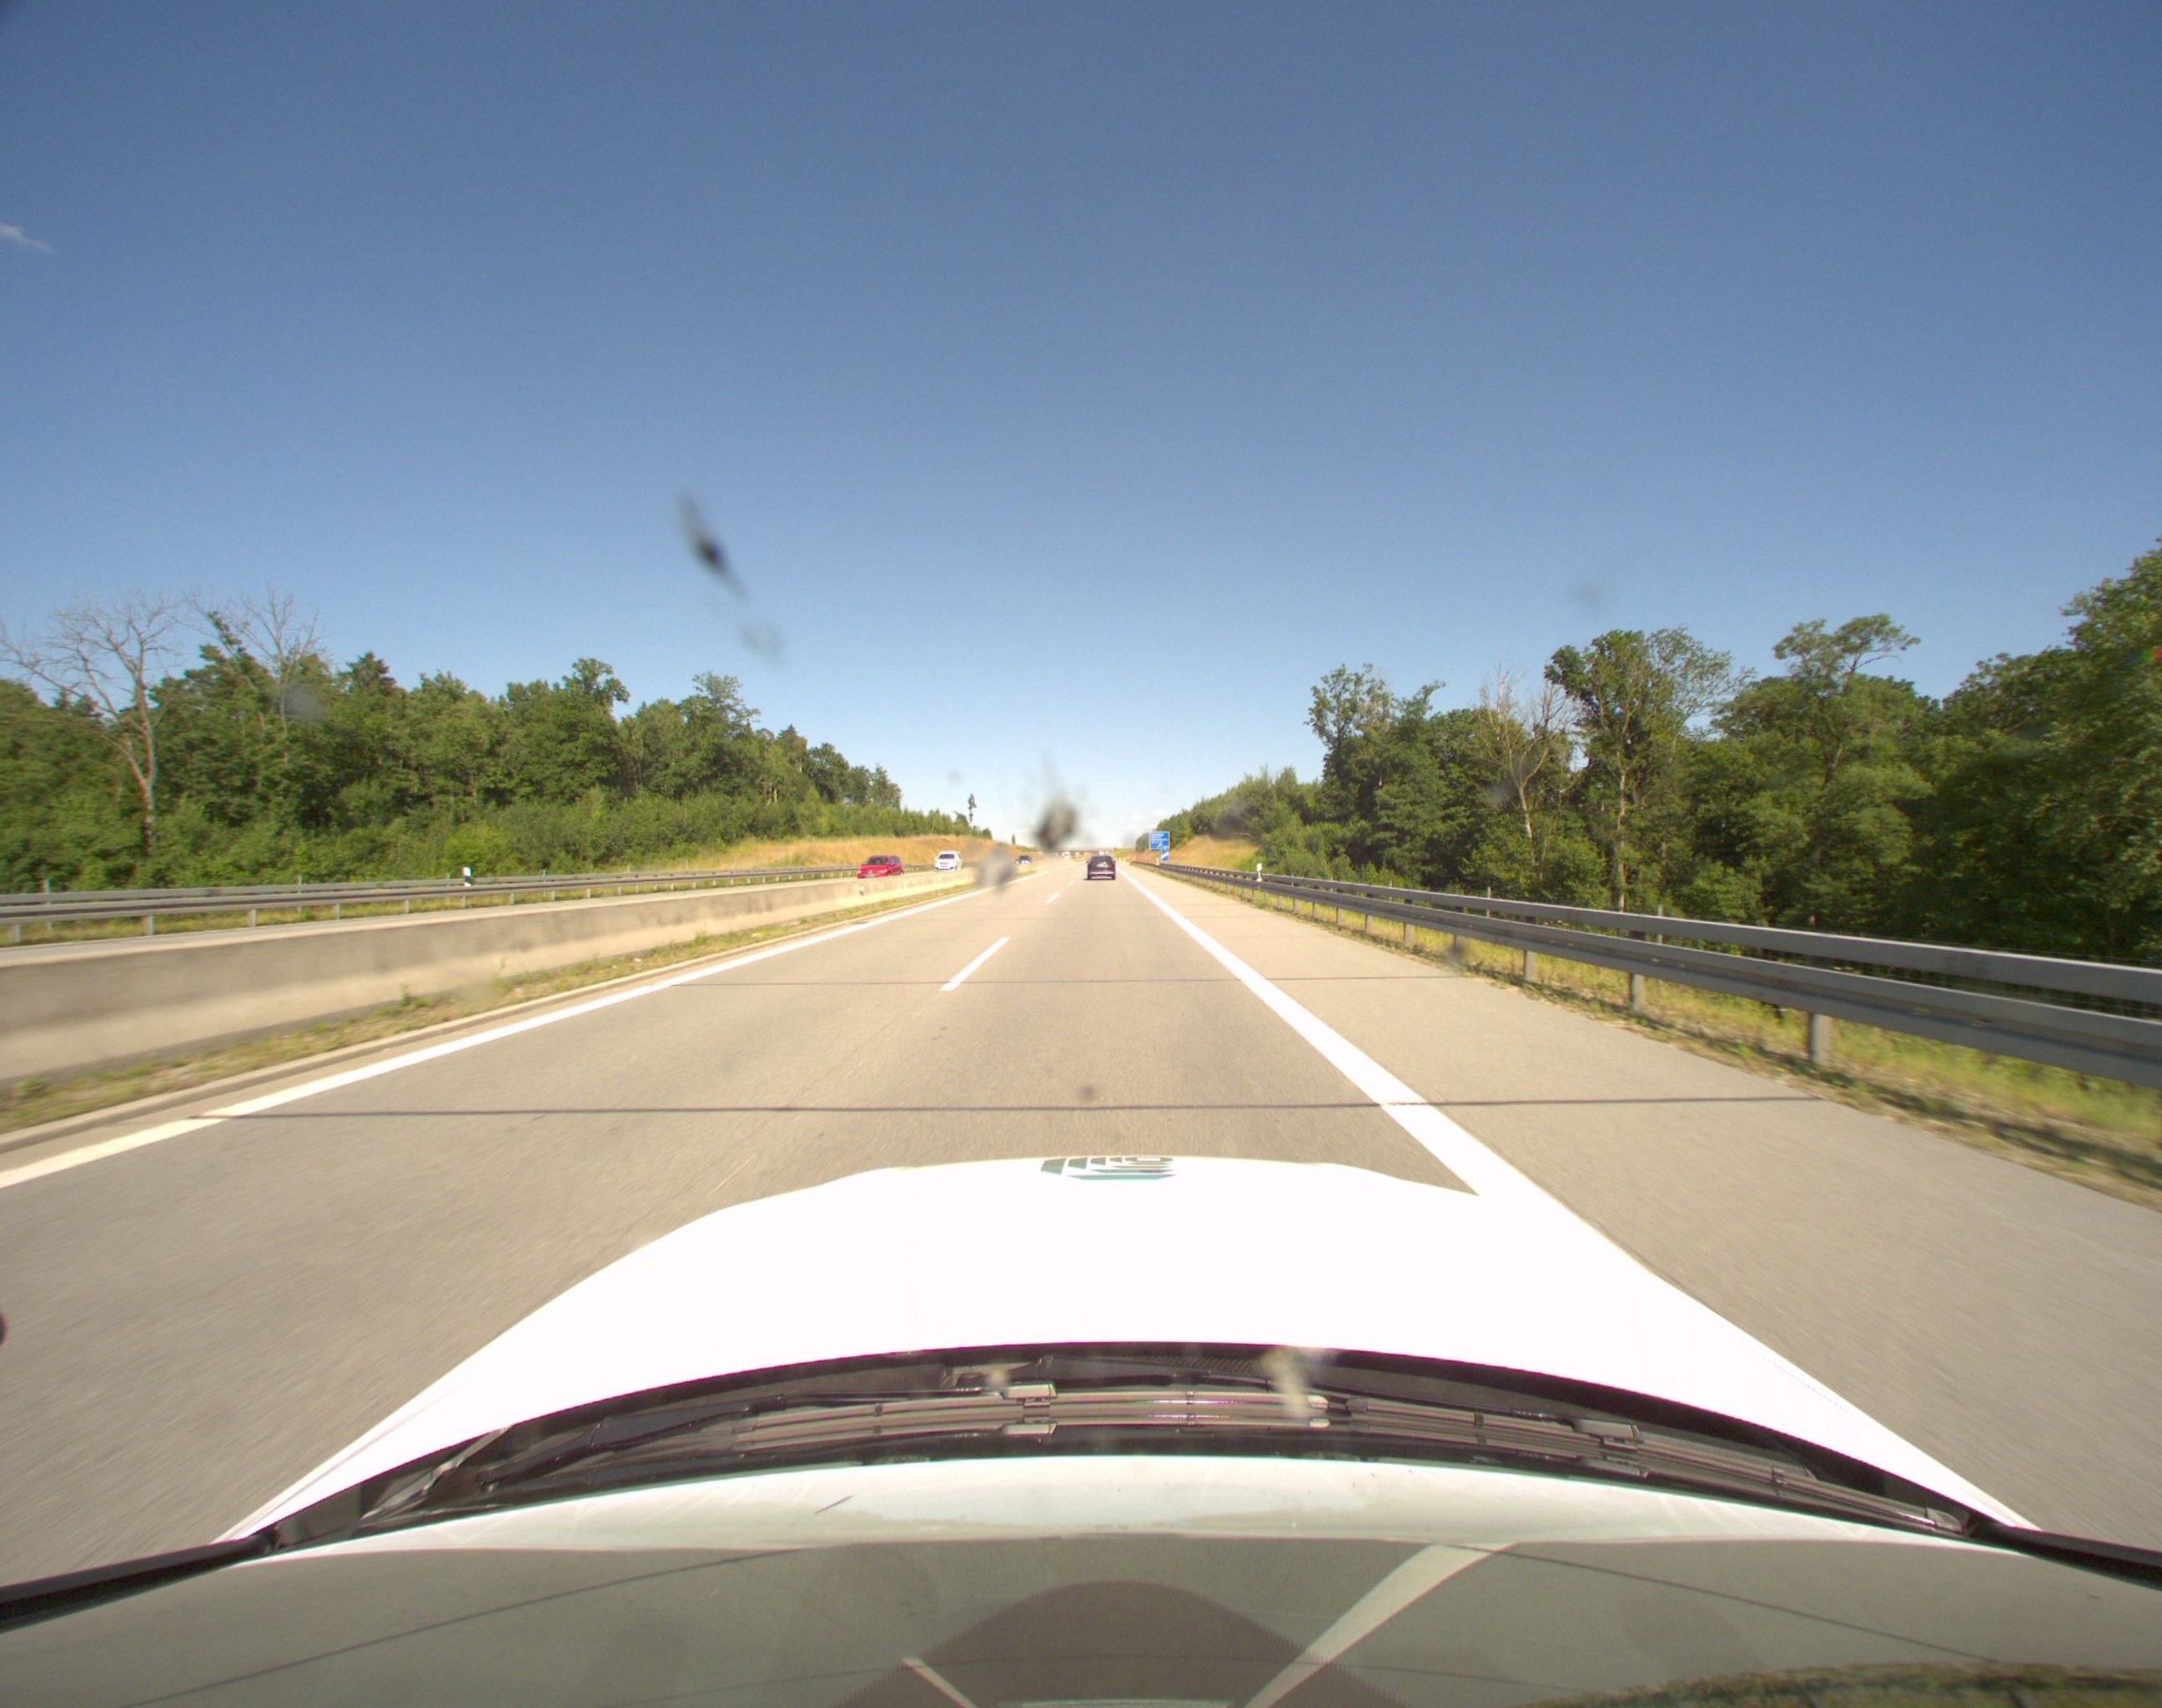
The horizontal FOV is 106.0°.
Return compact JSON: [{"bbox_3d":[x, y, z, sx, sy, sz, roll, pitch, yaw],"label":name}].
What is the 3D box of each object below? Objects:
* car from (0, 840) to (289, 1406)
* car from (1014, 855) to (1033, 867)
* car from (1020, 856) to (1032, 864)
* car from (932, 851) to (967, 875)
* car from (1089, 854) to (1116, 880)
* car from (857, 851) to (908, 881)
[{"bbox_3d":[-3.933,0.749,0.576,1.765,1.569,4.990,0,0,2],"label":"car"},{"bbox_3d":[-7.769,0.896,110.267,1.986,1.581,4.651,0,0,2],"label":"car"},{"bbox_3d":[-10.782,1.198,159.452,1.986,1.581,4.651,0,0,2],"label":"car"},{"bbox_3d":[-12.233,0.813,76.192,1.986,2.083,6.230,0,0,2],"label":"car"},{"bbox_3d":[1.426,0.792,53.077,1.715,1.587,5.224,0,0,2],"label":"car"},{"bbox_3d":[-11.631,0.690,48.004,1.660,1.644,4.891,0,0,2],"label":"car"}]
